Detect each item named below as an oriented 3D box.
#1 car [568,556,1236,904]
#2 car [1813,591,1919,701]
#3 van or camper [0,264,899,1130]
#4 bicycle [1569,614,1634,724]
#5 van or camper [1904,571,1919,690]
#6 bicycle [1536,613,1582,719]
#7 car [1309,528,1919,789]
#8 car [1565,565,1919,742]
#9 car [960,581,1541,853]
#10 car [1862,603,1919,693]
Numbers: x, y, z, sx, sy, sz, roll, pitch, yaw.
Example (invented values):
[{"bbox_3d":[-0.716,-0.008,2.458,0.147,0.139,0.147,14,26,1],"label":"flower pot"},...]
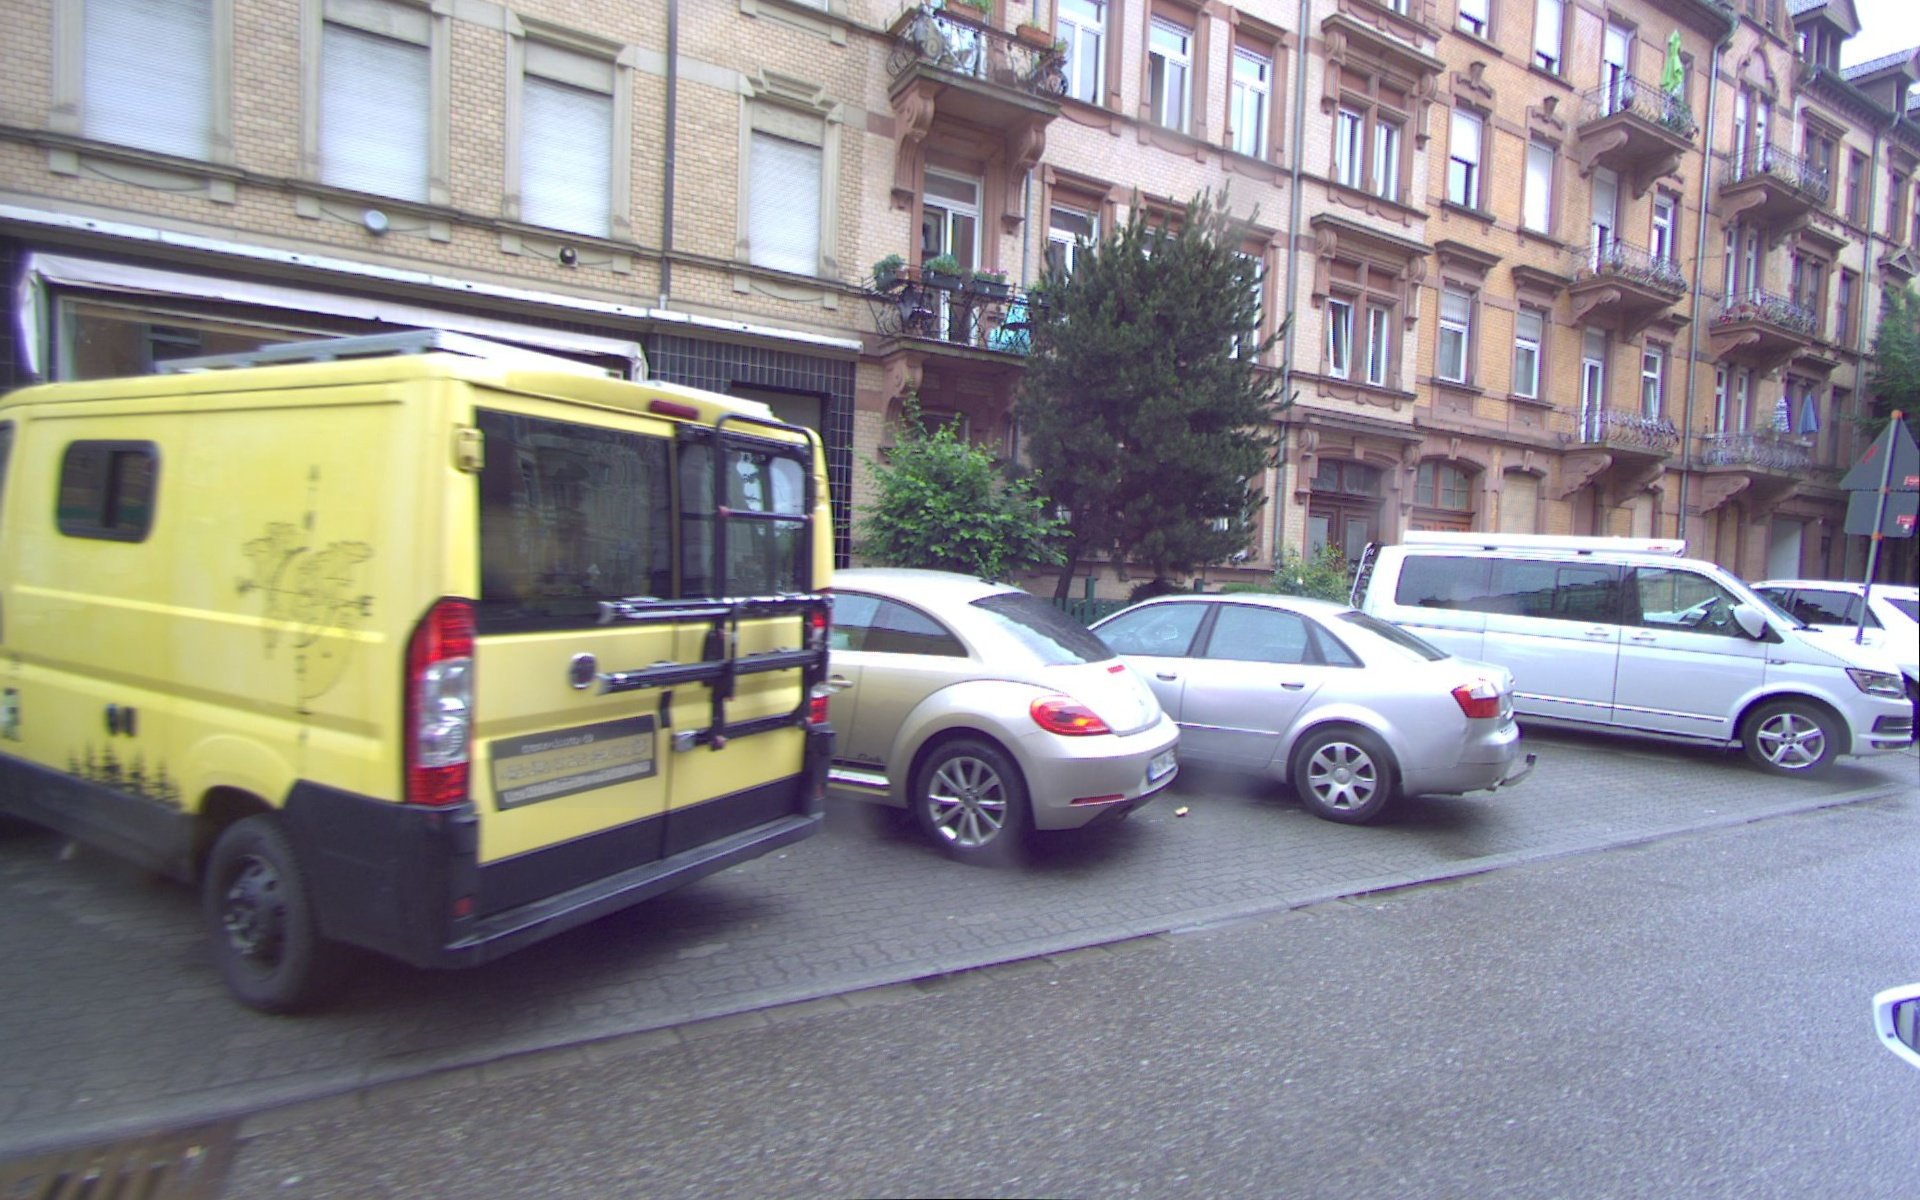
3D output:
[{"bbox_3d":[-0.426,0.568,6.505,3.849,1.515,1.959,3,2,30],"label":"car"},{"bbox_3d":[16.763,0.867,16.137,4.372,1.653,1.838,6,5,35],"label":"car"},{"bbox_3d":[-2.870,0.074,4.715,4.641,2.299,2.181,5,4,29],"label":"van or camper"},{"bbox_3d":[7.969,0.812,12.537,0.534,1.190,2.040,4,2,30],"label":"bicycle"},{"bbox_3d":[21.390,0.717,18.849,4.942,2.381,2.337,4,3,35],"label":"van or camper"},{"bbox_3d":[7.628,0.787,12.822,0.400,1.190,2.040,4,2,30],"label":"bicycle"},{"bbox_3d":[6.614,0.369,10.592,5.168,2.106,1.863,4,4,37],"label":"car"},{"bbox_3d":[11.211,0.603,13.480,2.515,1.809,4.556,1,4,-29],"label":"car"},{"bbox_3d":[2.147,0.676,7.767,3.931,1.455,1.780,4,2,33],"label":"car"},{"bbox_3d":[18.764,0.982,17.523,4.289,1.525,1.747,5,4,39],"label":"car"}]
